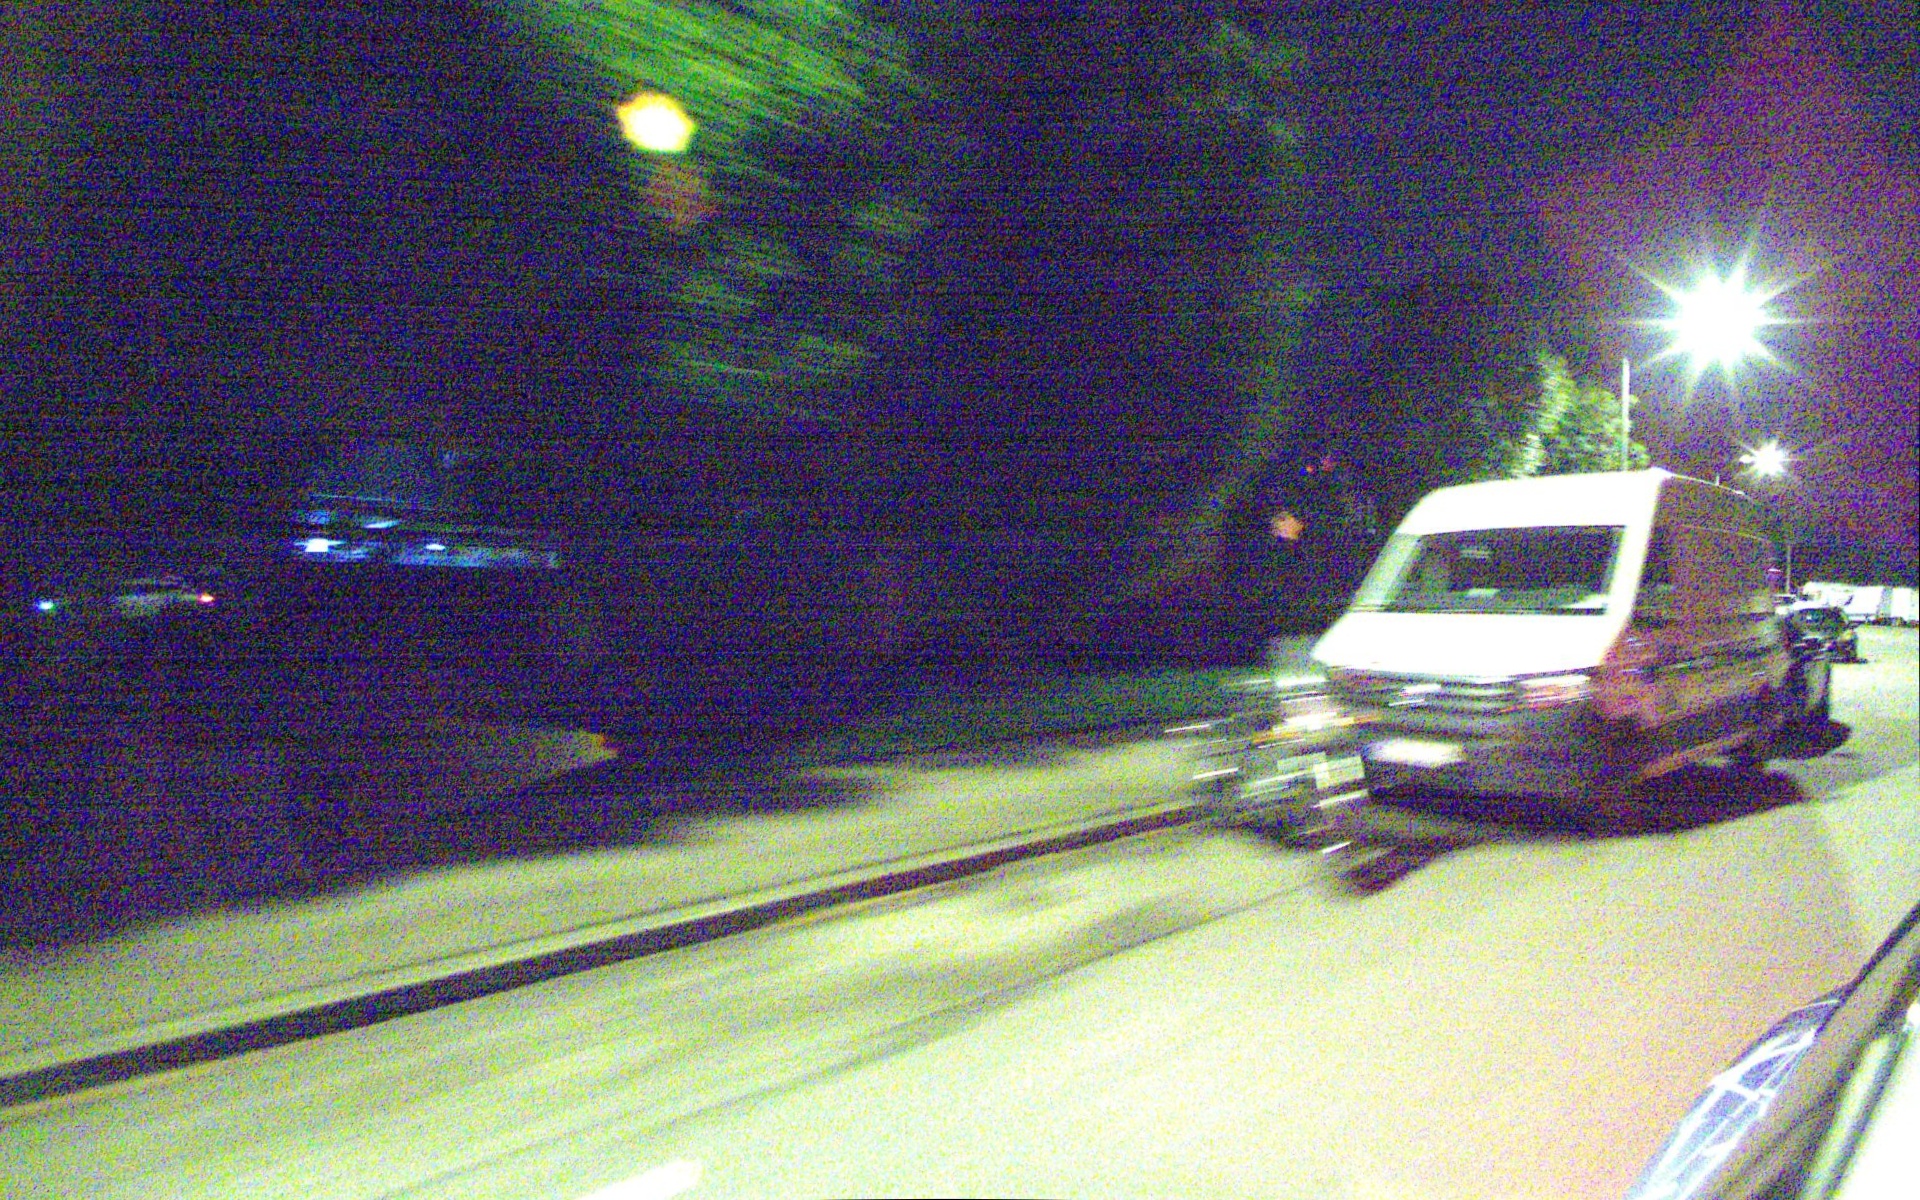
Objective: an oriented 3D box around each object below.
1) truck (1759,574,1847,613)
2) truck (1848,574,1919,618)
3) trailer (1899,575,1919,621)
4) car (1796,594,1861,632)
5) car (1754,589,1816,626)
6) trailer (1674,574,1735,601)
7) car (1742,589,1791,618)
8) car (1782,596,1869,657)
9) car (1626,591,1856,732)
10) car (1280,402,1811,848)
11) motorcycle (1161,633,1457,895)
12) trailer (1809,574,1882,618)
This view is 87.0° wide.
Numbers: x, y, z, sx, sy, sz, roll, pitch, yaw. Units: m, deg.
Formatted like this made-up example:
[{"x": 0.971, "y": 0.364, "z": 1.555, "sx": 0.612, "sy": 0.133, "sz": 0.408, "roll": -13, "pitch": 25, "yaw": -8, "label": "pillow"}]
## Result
[{"x": 72.053, "y": -0.625, "z": 86.779, "sx": 2.718, "sy": 3.103, "sz": 9.277, "roll": 1, "pitch": 1, "yaw": 20, "label": "truck"}, {"x": 63.342, "y": -0.291, "z": 69.244, "sx": 1.980, "sy": 2.819, "sz": 7.178, "roll": 2, "pitch": 1, "yaw": 26, "label": "truck"}, {"x": 60.516, "y": -0.058, "z": 63.116, "sx": 1.988, "sy": 2.799, "sz": 3.955, "roll": 3, "pitch": 2, "yaw": 31, "label": "trailer"}, {"x": 36.755, "y": 0.522, "z": 42.909, "sx": 1.602, "sy": 1.531, "sz": 3.779, "roll": -1, "pitch": -1, "yaw": 33, "label": "car"}, {"x": 47.437, "y": 0.397, "z": 58.303, "sx": 1.984, "sy": 2.039, "sz": 5.296, "roll": 0, "pitch": 0, "yaw": 31, "label": "car"}, {"x": 58.149, "y": -0.979, "z": 79.194, "sx": 1.469, "sy": 2.039, "sz": 4.978, "roll": 1, "pitch": 1, "yaw": 6, "label": "trailer"}, {"x": 51.480, "y": 0.179, "z": 64.675, "sx": 1.719, "sy": 1.802, "sz": 4.274, "roll": 0, "pitch": 1, "yaw": 28, "label": "car"}, {"x": 23.629, "y": 0.668, "z": 27.734, "sx": 1.708, "sy": 1.527, "sz": 3.944, "roll": 0, "pitch": 0, "yaw": 39, "label": "car"}, {"x": 10.232, "y": 0.669, "z": 13.119, "sx": 4.563, "sy": 1.527, "sz": 1.711, "roll": 0, "pitch": -1, "yaw": -44, "label": "car"}, {"x": 5.228, "y": 0.136, "z": 8.517, "sx": 5.944, "sy": 2.558, "sz": 2.024, "roll": 0, "pitch": 0, "yaw": -41, "label": "car"}, {"x": 1.943, "y": 0.838, "z": 6.077, "sx": 0.753, "sy": 1.198, "sz": 2.188, "roll": 0, "pitch": 0, "yaw": -8, "label": "motorcycle"}, {"x": 67.225, "y": -0.345, "z": 77.014, "sx": 2.469, "sy": 3.111, "sz": 7.873, "roll": 2, "pitch": 1, "yaw": 29, "label": "trailer"}]
